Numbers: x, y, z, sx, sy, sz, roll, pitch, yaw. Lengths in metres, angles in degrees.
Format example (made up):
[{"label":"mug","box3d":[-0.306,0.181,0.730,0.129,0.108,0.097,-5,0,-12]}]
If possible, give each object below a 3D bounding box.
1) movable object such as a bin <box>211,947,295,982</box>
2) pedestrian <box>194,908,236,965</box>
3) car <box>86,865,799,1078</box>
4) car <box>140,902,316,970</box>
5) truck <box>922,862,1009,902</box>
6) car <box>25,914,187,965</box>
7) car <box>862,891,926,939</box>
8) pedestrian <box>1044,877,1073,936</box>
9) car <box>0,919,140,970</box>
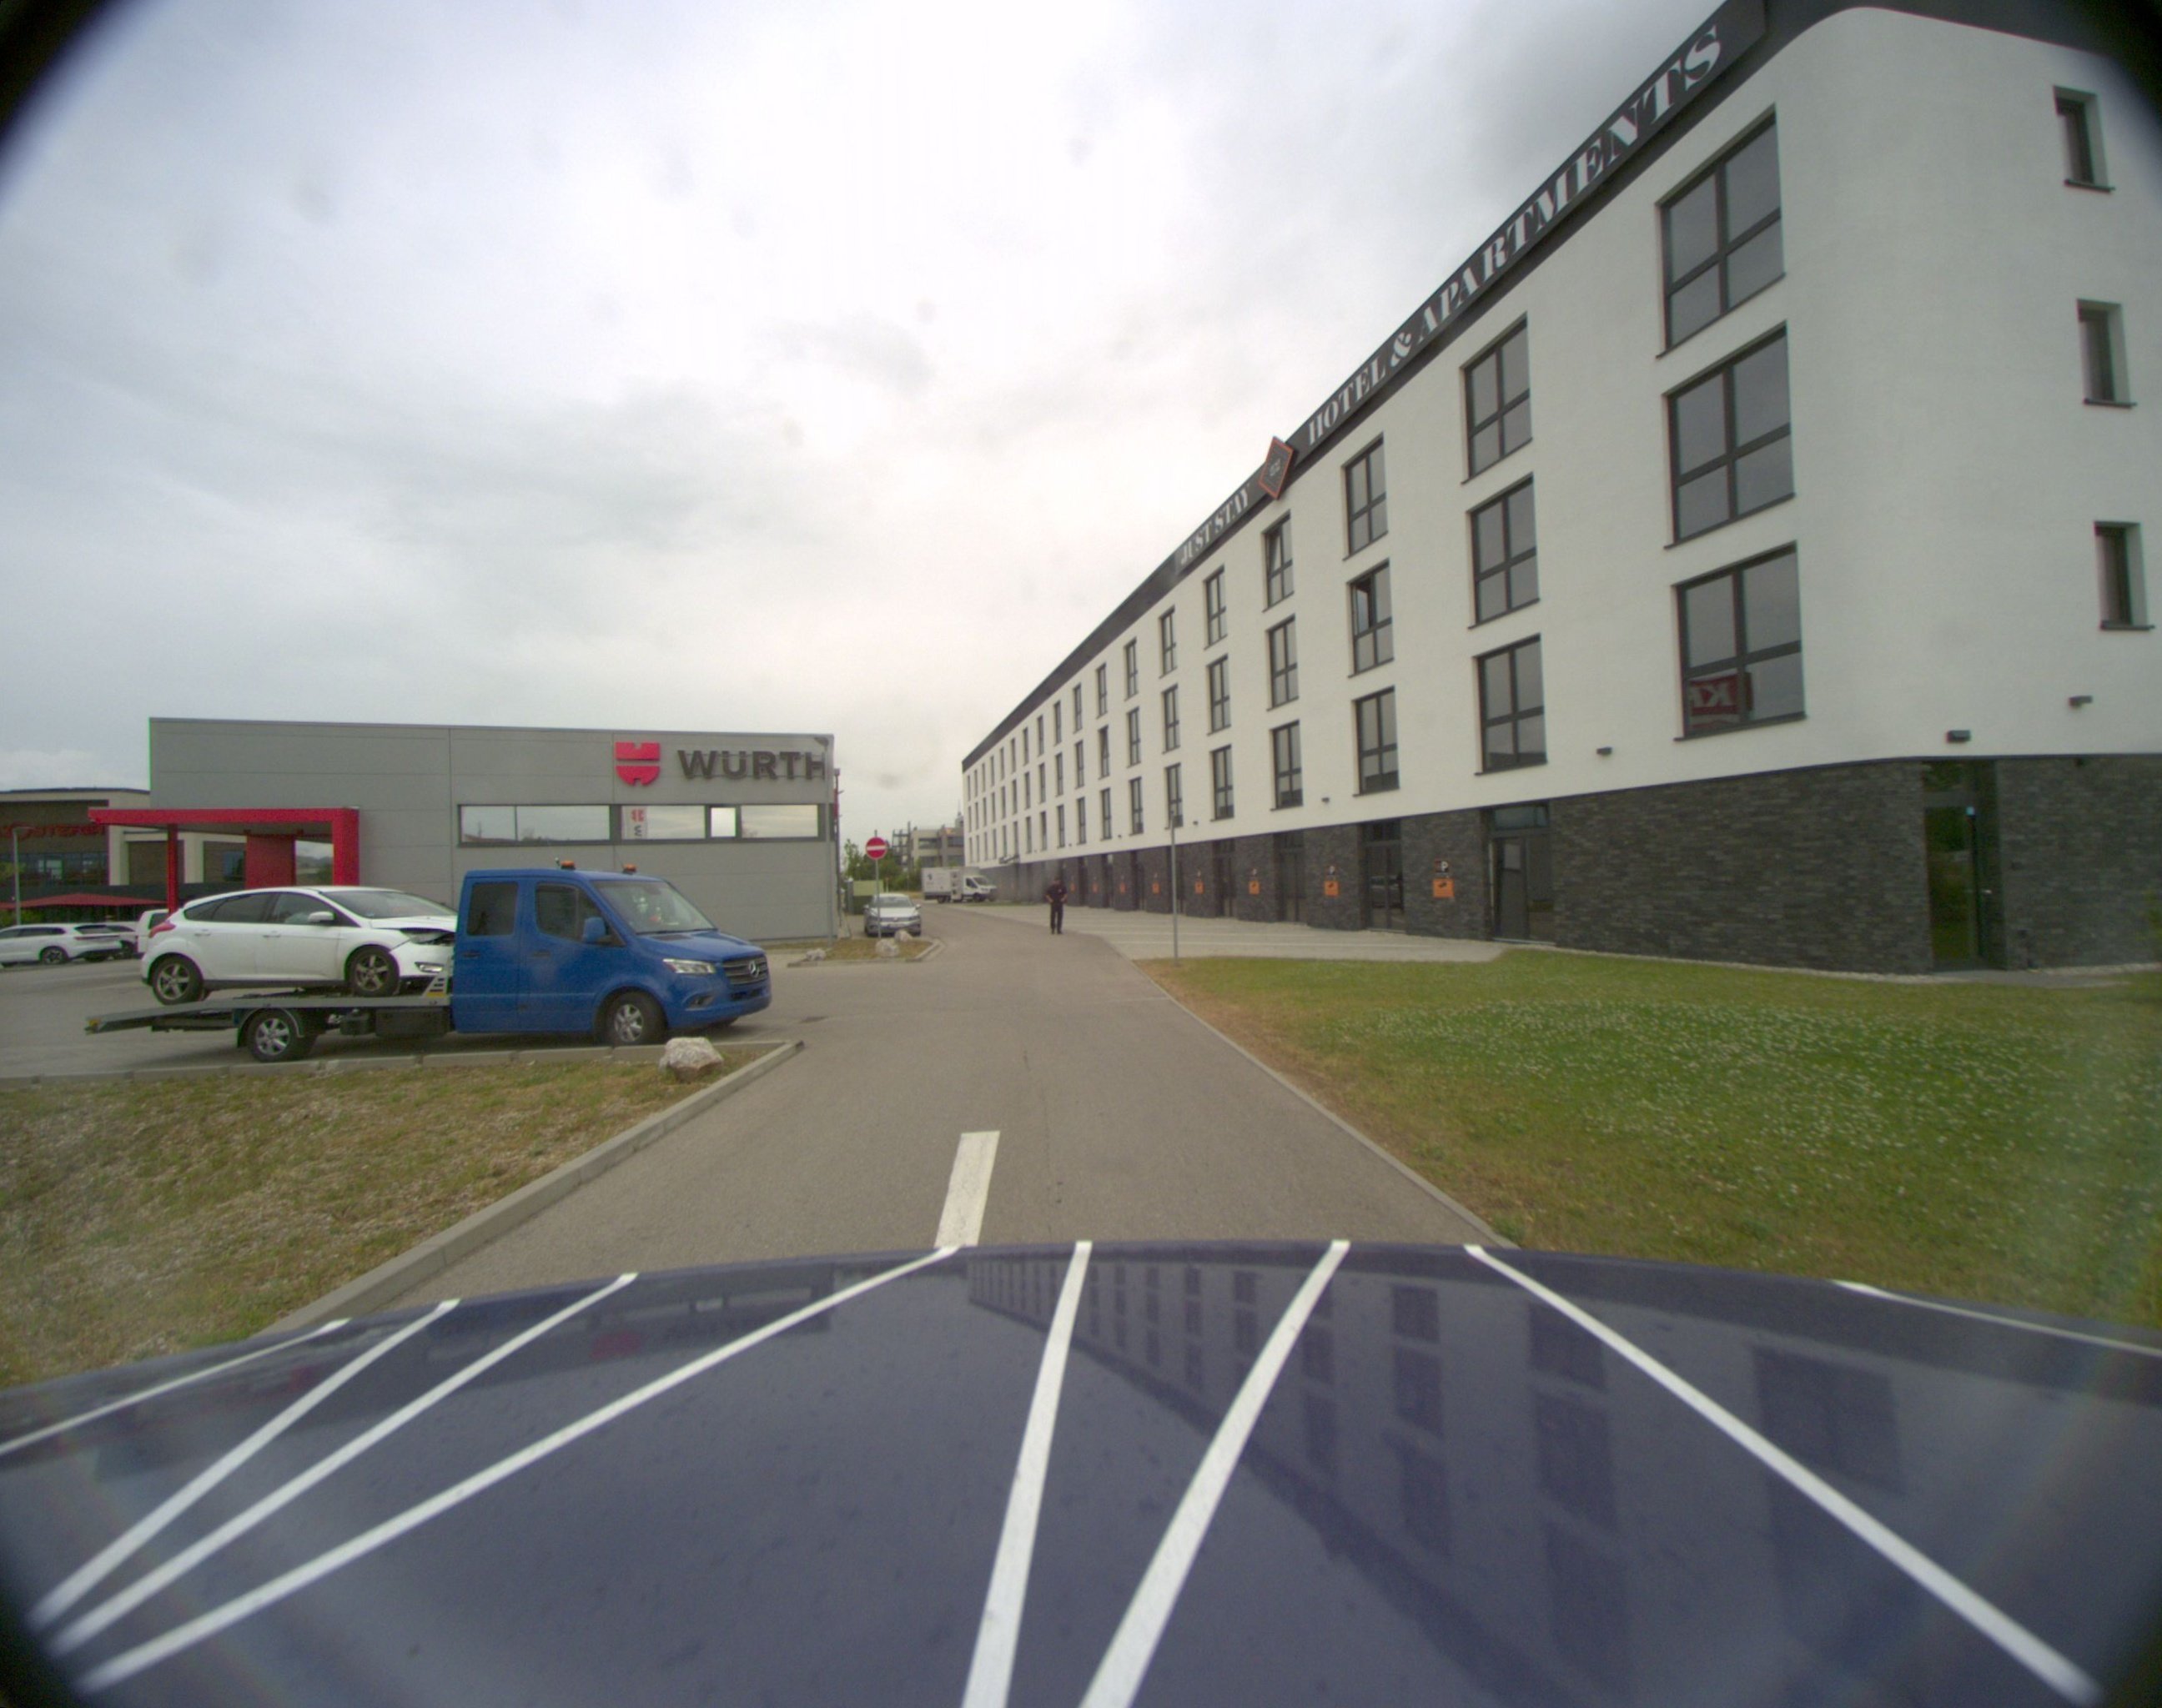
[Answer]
[{"label":"movable object such as a bin","box3d":[-22.079,2.938,20.308,0.804,0.711,1.583,-2,-1,-16]},{"label":"pedestrian","box3d":[-28.667,2.727,25.153,0.659,1.796,0.649,-1,-1,-15]},{"label":"car","box3d":[-8.038,1.441,9.995,7.848,2.308,2.202,-2,-1,4]},{"label":"car","box3d":[-29.392,2.779,26.322,3.678,1.967,1.674,-2,0,-16]},{"label":"truck","box3d":[-9.486,2.294,61.927,7.051,2.998,2.441,-3,-1,34]},{"label":"car","box3d":[-43.245,3.756,33.811,4.002,1.848,1.998,-2,-1,-15]},{"label":"car","box3d":[-6.710,2.157,27.726,1.981,1.482,4.767,0,-2,-10]},{"label":"pedestrian","box3d":[-0.723,1.635,24.131,0.710,1.811,0.812,-2,-1,-12]},{"label":"car","box3d":[-42.346,3.699,31.022,4.744,1.738,1.756,-2,-1,-15]}]
